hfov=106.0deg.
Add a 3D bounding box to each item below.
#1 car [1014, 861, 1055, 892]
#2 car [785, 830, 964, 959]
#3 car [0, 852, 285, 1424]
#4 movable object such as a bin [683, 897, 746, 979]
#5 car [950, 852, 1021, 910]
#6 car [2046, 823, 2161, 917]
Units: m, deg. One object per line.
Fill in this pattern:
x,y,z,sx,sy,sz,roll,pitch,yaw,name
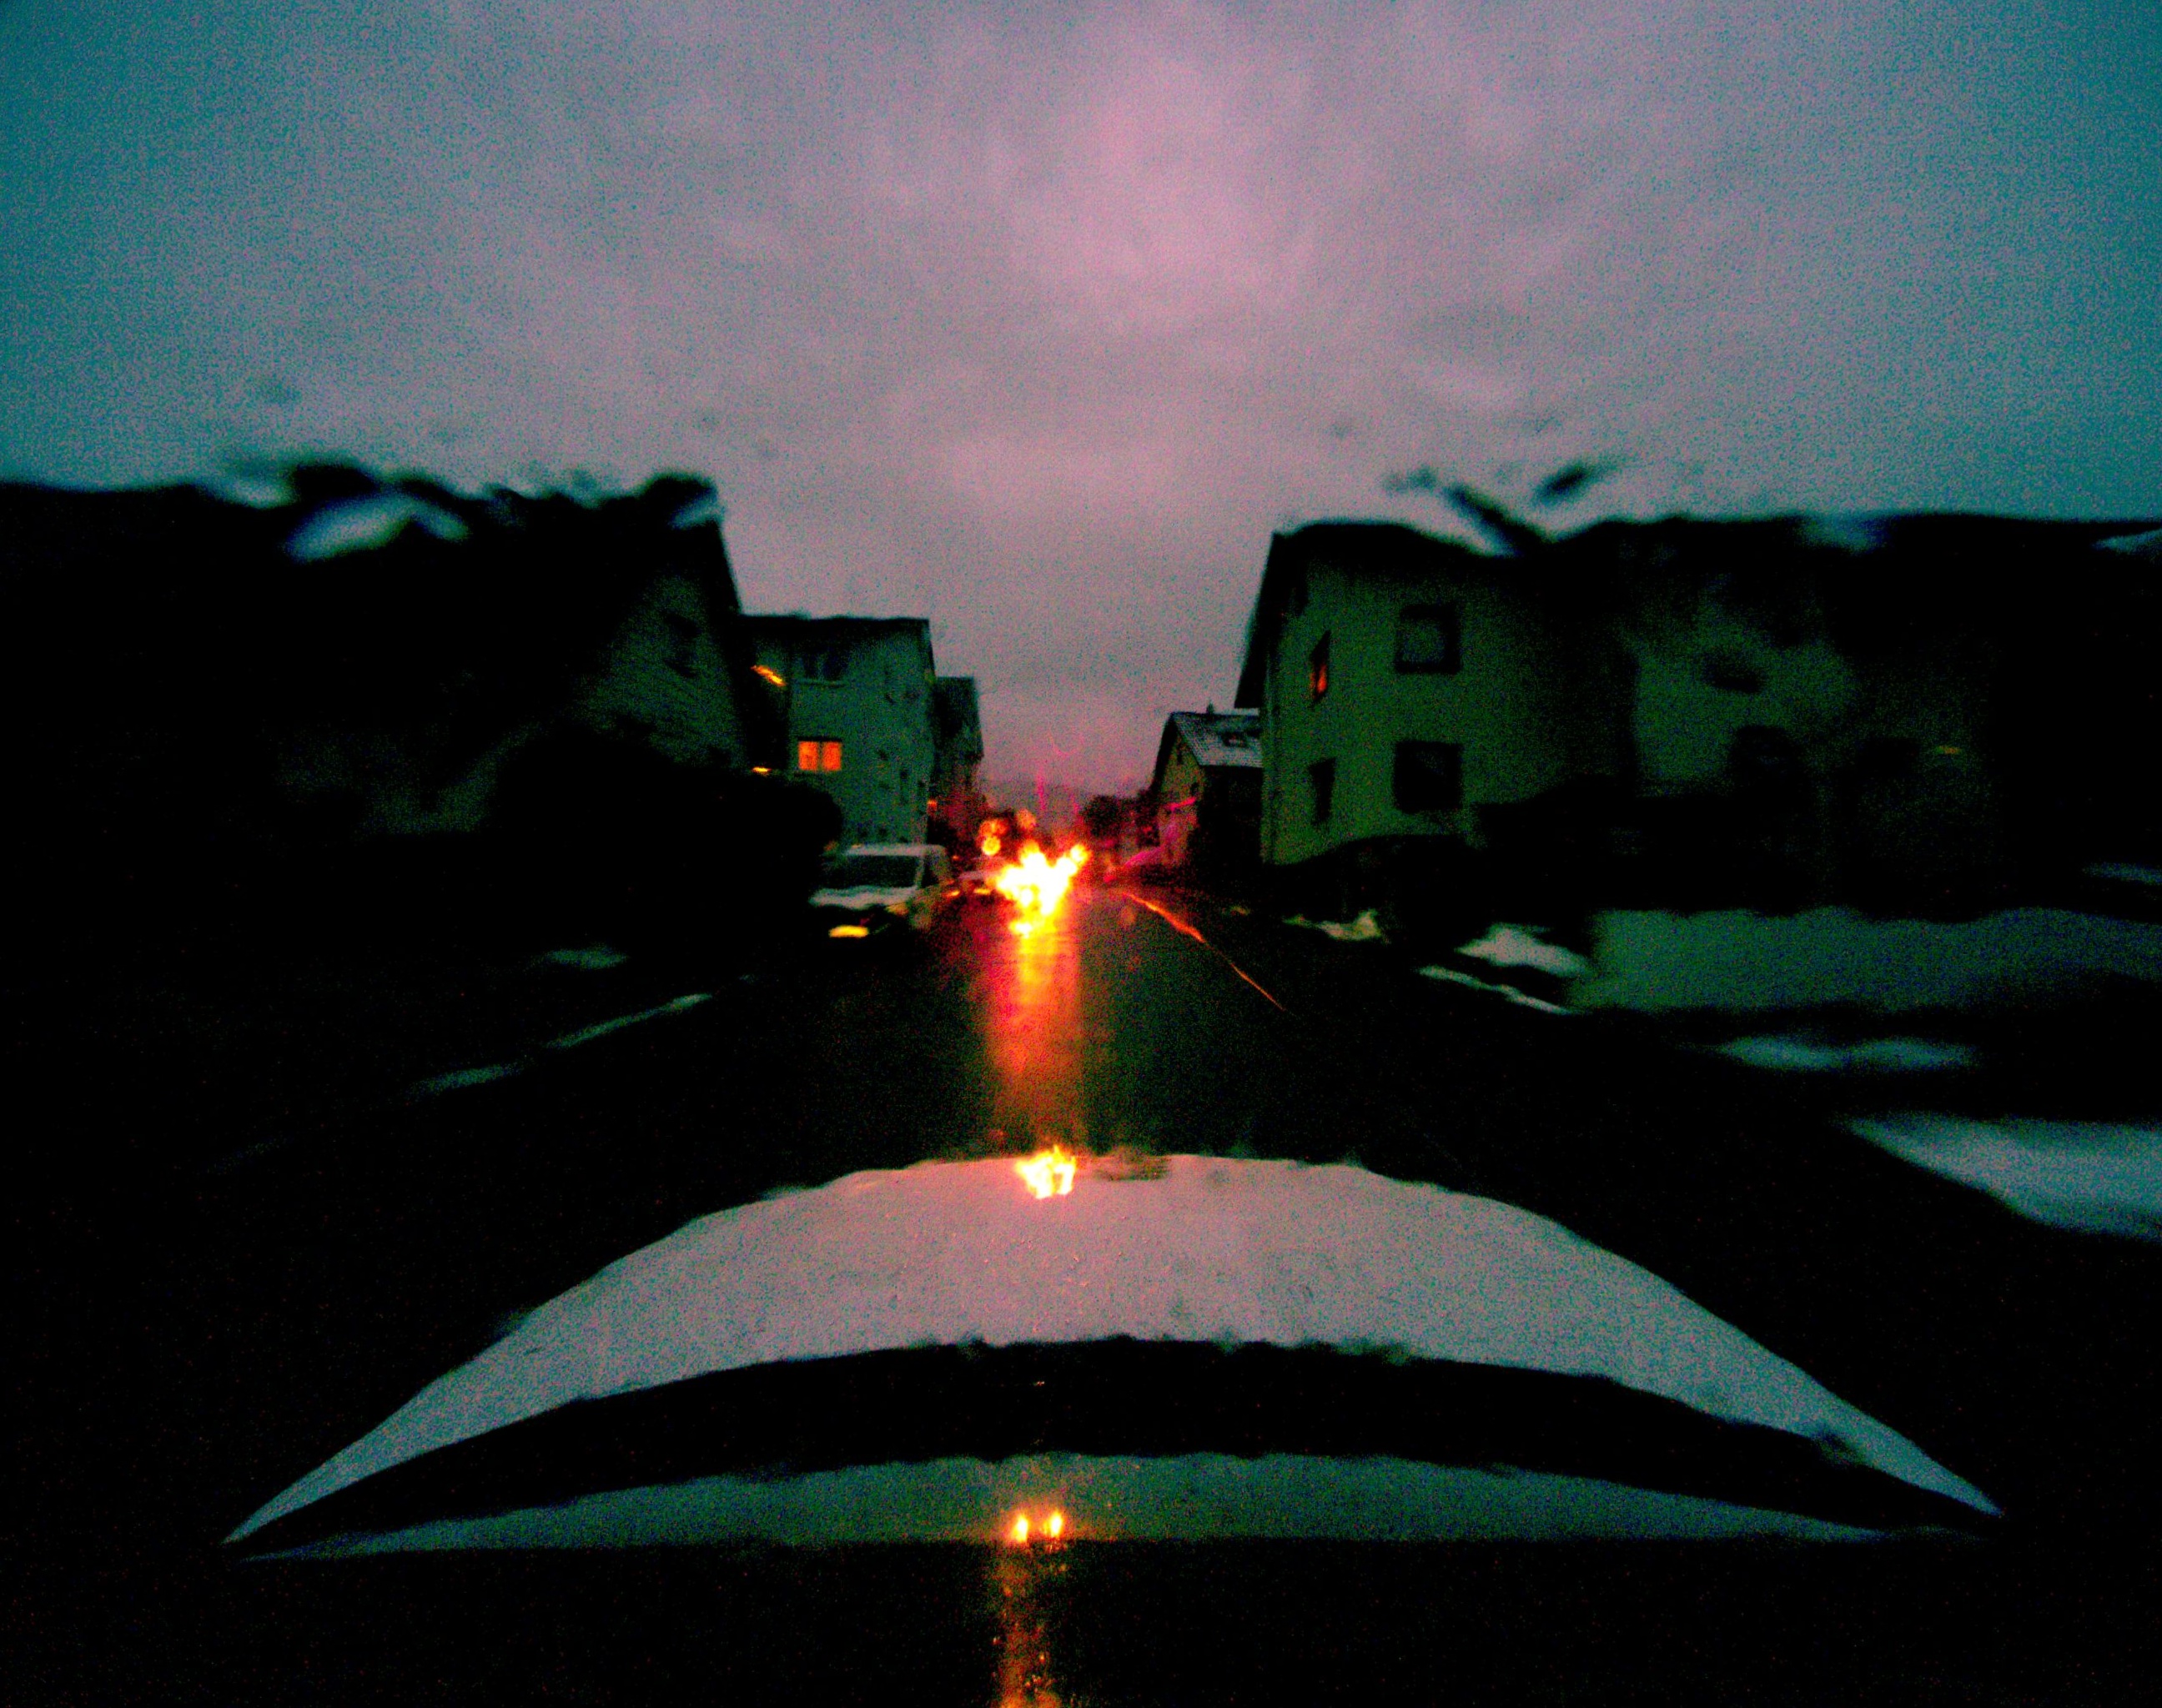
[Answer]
-2.617,1.290,46.547,1.986,1.650,4.001,-1,-2,2,car
-3.324,0.608,14.046,1.819,1.835,4.346,-1,-1,2,car
-3.768,0.750,0.746,1.788,1.503,4.310,-1,-1,1,car
-4.556,1.032,10.144,0.481,0.917,0.600,3,1,-1,movable object such as a bin
-3.218,0.885,28.210,1.987,1.800,3.998,-1,-1,-1,car
17.720,0.293,13.183,4.006,1.406,1.722,2,-1,-25,car
